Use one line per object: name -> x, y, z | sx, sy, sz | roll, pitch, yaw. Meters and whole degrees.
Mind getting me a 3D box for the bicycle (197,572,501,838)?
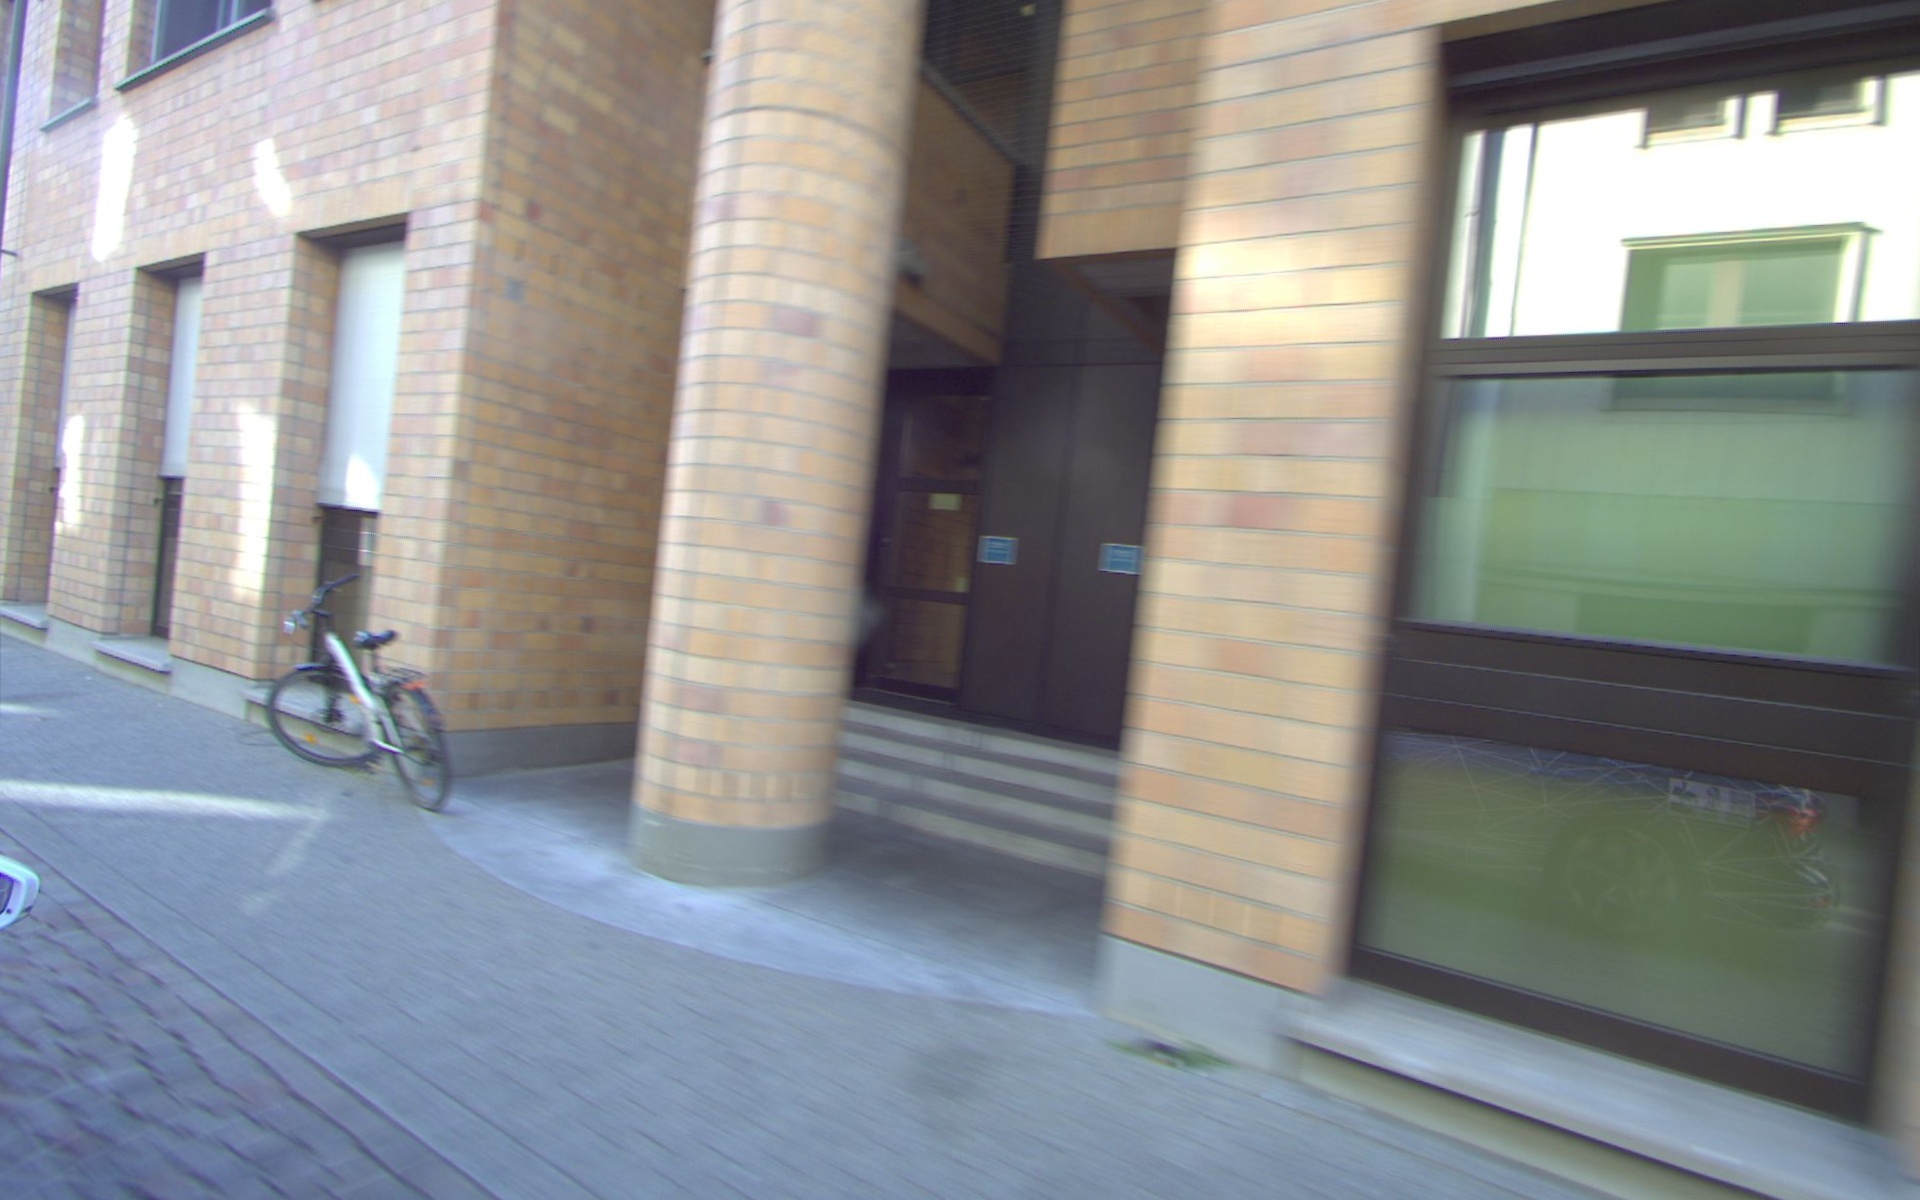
bicycle -> -3.418, 0.496, 5.555 | 1.949, 1.119, 0.549 | 7, 4, 30
